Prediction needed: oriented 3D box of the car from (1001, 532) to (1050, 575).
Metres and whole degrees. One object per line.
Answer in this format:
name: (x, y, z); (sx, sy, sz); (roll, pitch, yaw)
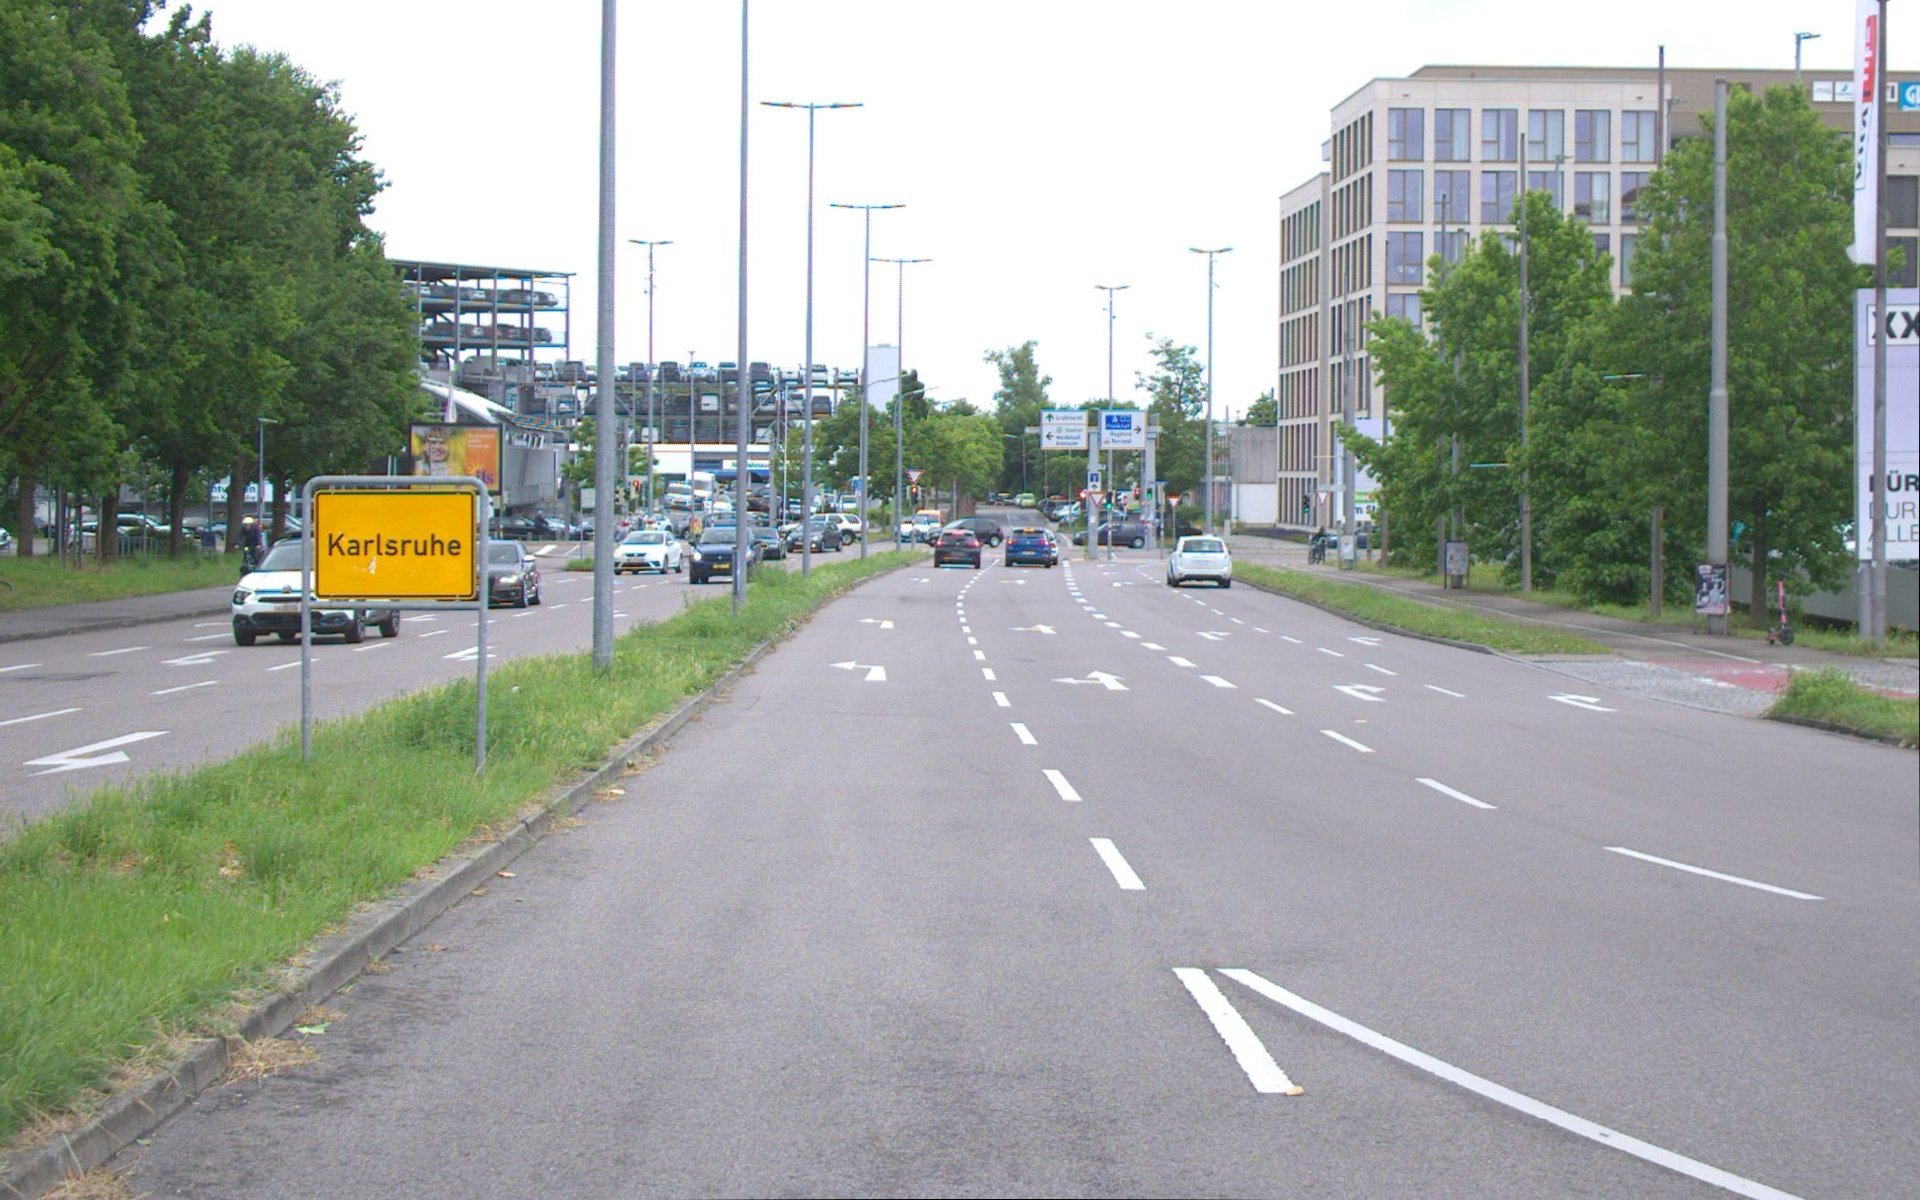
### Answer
car: (2.559, -1.827, 134.761); (1.835, 1.509, 4.001); (1, 3, 0)

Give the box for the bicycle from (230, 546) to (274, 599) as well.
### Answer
bicycle: (-17.292, -0.682, 83.988); (0.642, 1.246, 2.056); (2, 2, -1)

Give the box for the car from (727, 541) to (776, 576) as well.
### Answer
car: (-8.770, -1.757, 144.799); (1.772, 1.447, 4.405); (-1, 1, 0)

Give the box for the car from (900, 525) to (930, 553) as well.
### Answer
car: (-2.572, -3.493, 196.261); (1.600, 1.448, 3.325); (1, 3, 1)

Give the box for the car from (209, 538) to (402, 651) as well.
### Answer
car: (-9.462, -0.101, 50.001); (1.931, 1.514, 4.182); (-2, 1, 0)

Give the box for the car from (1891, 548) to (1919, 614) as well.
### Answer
car: (22.852, -0.401, 75.757); (4.152, 1.345, 1.810); (1, 3, -1)

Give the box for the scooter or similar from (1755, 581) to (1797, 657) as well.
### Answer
scooter or similar: (13.324, 0.304, 56.183); (0.370, 1.187, 1.248); (0, 2, 0)

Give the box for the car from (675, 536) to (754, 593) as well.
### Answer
car: (-6.679, -0.988, 93.896); (1.931, 1.481, 4.440); (-1, 1, -1)

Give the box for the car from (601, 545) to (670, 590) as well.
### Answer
car: (-10.753, -1.096, 114.190); (1.866, 1.449, 4.169); (-1, 1, 0)

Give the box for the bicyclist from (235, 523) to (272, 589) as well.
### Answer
bicyclist: (-17.258, -1.089, 83.997); (0.640, 1.572, 1.000); (2, 1, -1)

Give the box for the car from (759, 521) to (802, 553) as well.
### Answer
car: (-8.474, -2.987, 162.550); (1.780, 1.450, 4.182); (-1, 2, 0)

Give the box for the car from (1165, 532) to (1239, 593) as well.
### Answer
car: (7.195, -1.128, 102.446); (1.993, 1.746, 4.180); (1, 1, 2)

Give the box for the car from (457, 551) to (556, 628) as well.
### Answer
car: (-9.441, -0.248, 71.832); (1.882, 1.431, 4.433); (-2, 2, -6)

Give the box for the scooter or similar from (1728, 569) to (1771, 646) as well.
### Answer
scooter or similar: (14.867, 0.130, 64.784); (0.650, 1.416, 1.818); (0, 1, 8)

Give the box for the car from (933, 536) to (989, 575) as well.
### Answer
car: (0.013, -1.639, 127.261); (1.987, 1.423, 4.241); (1, 0, -1)

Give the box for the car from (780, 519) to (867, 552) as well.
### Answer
car: (-7.095, -3.337, 178.724); (4.415, 1.654, 2.000); (1, 1, -6)

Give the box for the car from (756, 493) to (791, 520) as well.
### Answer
car: (-12.835, -6.460, 236.579); (1.776, 1.700, 3.916); (1, 3, 6)

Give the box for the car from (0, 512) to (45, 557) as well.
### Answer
car: (-45.461, -3.051, 160.291); (5.131, 1.957, 1.881); (0, 6, -4)

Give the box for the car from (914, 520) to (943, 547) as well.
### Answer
car: (-1.851, -3.968, 204.381); (1.600, 1.448, 3.325); (1, 3, 1)

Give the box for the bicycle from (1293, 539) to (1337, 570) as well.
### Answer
bicycle: (15.328, -1.979, 148.617); (0.700, 1.291, 2.011); (0, 2, -35)
